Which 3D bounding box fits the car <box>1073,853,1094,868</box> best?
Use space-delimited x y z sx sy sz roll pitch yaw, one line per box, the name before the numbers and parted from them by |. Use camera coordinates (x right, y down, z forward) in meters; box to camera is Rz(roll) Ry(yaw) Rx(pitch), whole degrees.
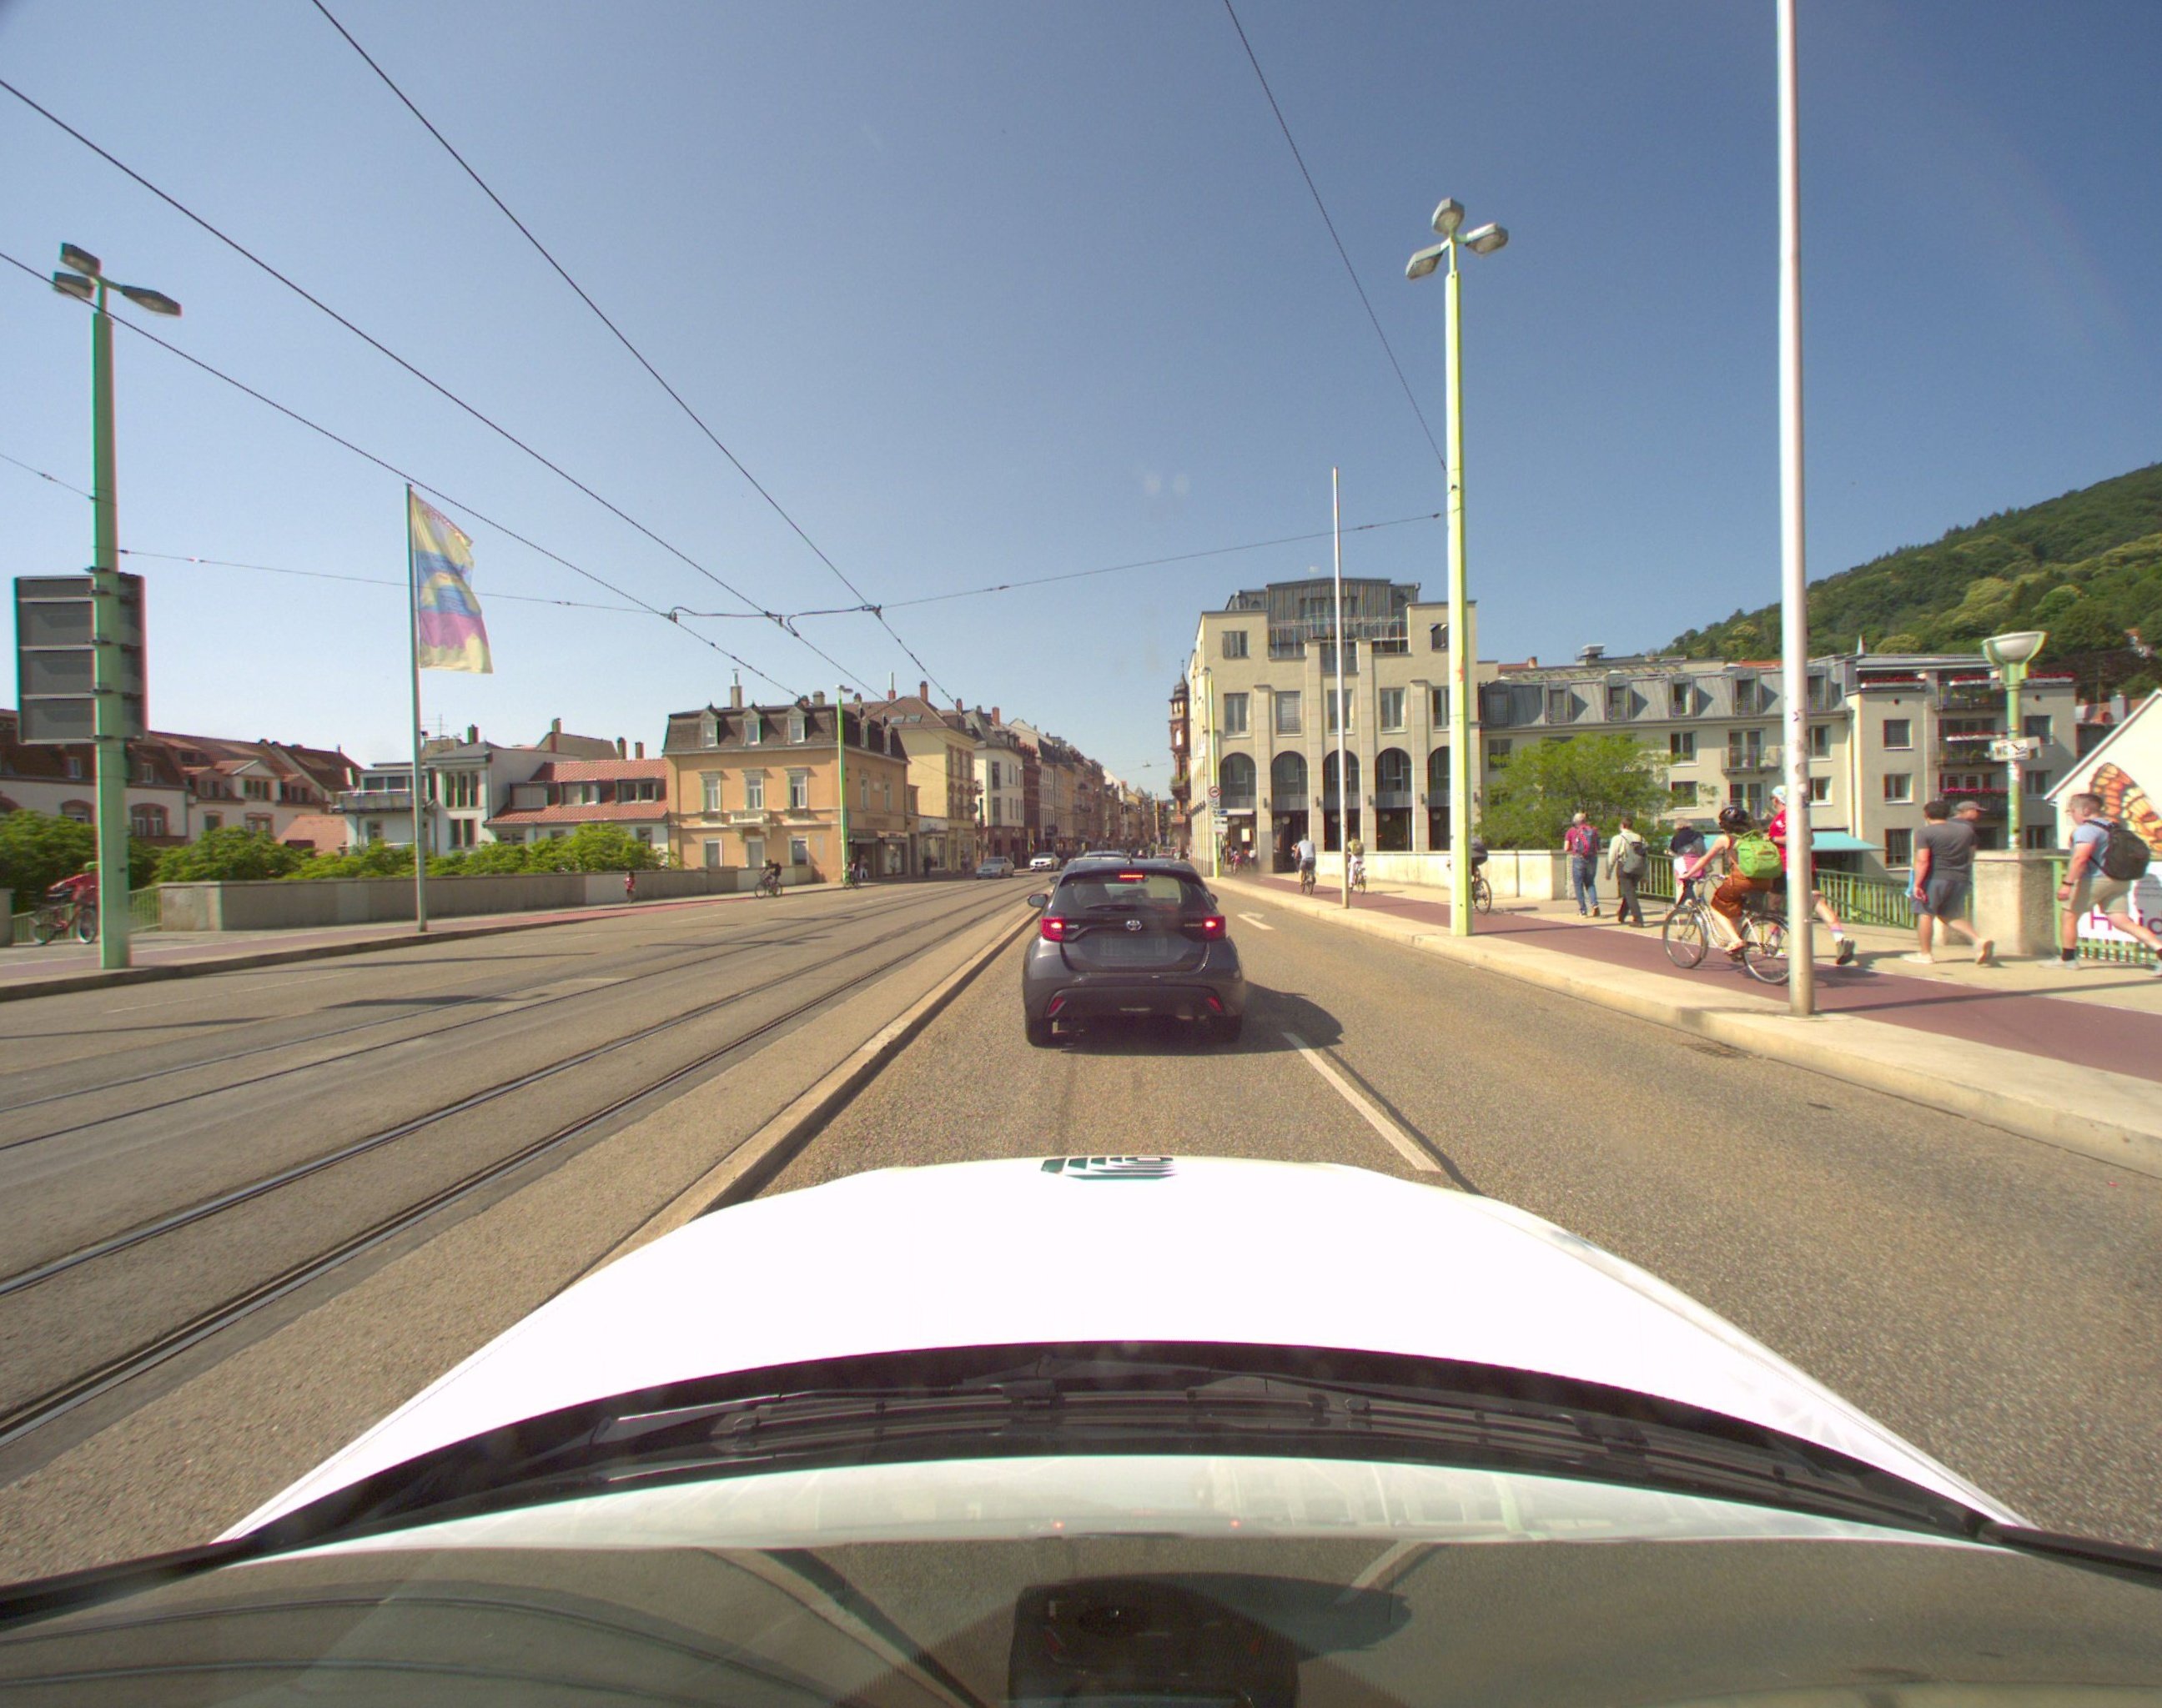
car | 0.295 0.712 89.317 1.784 1.545 3.930 -2 0 8

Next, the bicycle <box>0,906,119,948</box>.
bicycle | -19.826 1.402 15.710 1.918 0.716 0.623 0 1 5

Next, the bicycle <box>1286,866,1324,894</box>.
bicycle | 6.703 0.763 24.478 0.592 0.765 1.866 -2 0 -1

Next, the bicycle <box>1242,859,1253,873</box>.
bicycle | 9.279 0.667 45.467 0.415 0.765 0.962 -3 0 2

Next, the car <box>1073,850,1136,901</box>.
car | 0.763 0.636 26.406 1.890 1.530 4.001 0 0 1

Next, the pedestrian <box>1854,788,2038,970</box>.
pedestrian | 8.813 0.239 8.352 0.736 1.718 1.016 -3 0 1

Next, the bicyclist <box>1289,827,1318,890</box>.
bicyclist | 6.678 0.136 24.472 0.585 1.820 0.702 -2 0 -1

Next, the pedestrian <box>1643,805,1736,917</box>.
pedestrian | 10.243 0.116 13.755 0.736 1.777 1.016 -3 0 1

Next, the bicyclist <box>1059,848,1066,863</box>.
bicyclist | -2.081 0.145 90.329 0.701 1.650 0.623 0 1 10

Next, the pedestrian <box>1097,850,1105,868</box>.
pedestrian | 3.122 0.762 125.818 1.047 2.588 1.502 3 0 2

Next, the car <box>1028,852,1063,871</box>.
car | -3.014 0.617 69.519 1.981 1.586 4.665 -2 0 10

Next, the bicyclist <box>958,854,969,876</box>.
bicyclist | -8.688 0.805 60.361 0.623 1.650 0.623 0 1 10

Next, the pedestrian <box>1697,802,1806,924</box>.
pedestrian | 10.172 0.131 12.396 0.737 1.746 1.016 -3 0 0

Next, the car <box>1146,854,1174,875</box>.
car | 5.699 0.708 58.907 1.699 1.466 4.327 0 0 1

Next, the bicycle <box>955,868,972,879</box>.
bicycle | -8.695 1.438 60.345 0.616 0.716 2.051 0 1 11

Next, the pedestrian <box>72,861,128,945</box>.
pedestrian | -19.527 0.972 16.221 0.622 1.632 0.414 1 0 5

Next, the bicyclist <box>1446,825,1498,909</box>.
bicyclist | 7.521 0.251 15.682 0.585 1.559 0.702 -2 0 -1

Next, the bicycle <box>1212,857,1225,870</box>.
bicycle | 10.006 0.700 59.219 0.701 0.882 1.526 3 0 2

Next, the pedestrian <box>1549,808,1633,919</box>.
pedestrian | 8.786 0.155 14.076 0.736 1.802 1.016 -3 0 1

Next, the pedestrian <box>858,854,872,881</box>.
pedestrian | -13.063 0.826 49.280 0.646 1.602 0.566 3 2 2

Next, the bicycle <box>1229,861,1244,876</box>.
bicycle | 8.361 0.754 43.744 0.512 0.765 1.661 -3 0 2

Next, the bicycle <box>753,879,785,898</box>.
bicycle | -13.236 1.467 34.616 0.618 0.716 1.772 0 1 2

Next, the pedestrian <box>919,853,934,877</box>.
pedestrian | -10.887 0.789 57.477 0.758 1.654 0.713 3 0 9

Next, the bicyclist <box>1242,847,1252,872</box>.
bicyclist | 9.253 0.286 45.462 0.420 1.383 0.443 -3 0 1

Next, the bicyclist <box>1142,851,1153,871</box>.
bicyclist | 8.891 0.944 109.180 1.219 2.529 1.109 3 0 13

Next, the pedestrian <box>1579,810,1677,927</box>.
pedestrian | 8.545 0.219 12.765 0.752 1.718 1.073 -3 0 1

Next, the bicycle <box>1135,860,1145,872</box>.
bicycle | 7.268 1.434 99.910 1.107 1.420 3.010 3 0 4

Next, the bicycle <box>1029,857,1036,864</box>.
bicycle | -5.239 0.703 88.369 0.618 0.716 1.772 3 0 2

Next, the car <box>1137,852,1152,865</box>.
car | 10.735 0.754 137.146 1.981 2.013 4.012 3 0 10

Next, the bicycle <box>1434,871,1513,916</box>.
bicycle | 7.539 0.736 15.742 0.592 0.765 1.830 -2 0 -1

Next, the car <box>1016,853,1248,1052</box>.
car | 0.423 0.727 7.860 1.713 1.473 3.659 0 0 1

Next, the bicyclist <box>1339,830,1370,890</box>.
bicyclist | 7.742 0.157 23.071 0.585 1.650 0.702 -2 0 -1

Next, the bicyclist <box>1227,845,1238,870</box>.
bicyclist | 9.044 0.192 48.599 0.438 1.466 0.488 -3 0 24

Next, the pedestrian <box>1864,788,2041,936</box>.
pedestrian | 11.285 0.093 10.591 1.201 1.777 0.979 -3 0 -5

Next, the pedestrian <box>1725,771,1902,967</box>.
pedestrian | 7.788 0.150 8.725 0.808 1.924 1.128 -2 0 1

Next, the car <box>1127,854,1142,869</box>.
car | 8.042 1.103 122.846 1.984 2.013 4.007 3 0 6

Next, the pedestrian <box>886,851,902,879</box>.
pedestrian | -12.210 0.728 53.258 0.733 1.766 0.787 3 0 2

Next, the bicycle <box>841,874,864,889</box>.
bicycle | -11.706 1.404 41.713 0.618 0.716 1.732 0 1 2

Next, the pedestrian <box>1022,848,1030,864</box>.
pedestrian | -5.961 0.207 88.403 0.733 1.766 0.787 -1 1 2

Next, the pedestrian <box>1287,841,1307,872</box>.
pedestrian | 11.546 0.113 43.546 0.736 1.615 1.016 3 0 1

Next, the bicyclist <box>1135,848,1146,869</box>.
bicyclist | 7.314 0.516 99.860 1.223 2.529 1.105 3 0 1

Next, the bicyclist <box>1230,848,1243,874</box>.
bicyclist | 8.336 0.372 43.718 0.532 1.383 0.669 -3 0 1

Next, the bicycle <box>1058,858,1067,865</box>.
bicycle | -2.061 0.846 90.393 0.616 0.716 2.051 0 1 11

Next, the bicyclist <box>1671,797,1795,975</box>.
bicyclist | 6.382 0.304 8.006 0.602 1.650 0.702 -2 0 2

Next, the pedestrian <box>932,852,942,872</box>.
pedestrian | -11.551 0.640 65.272 0.646 1.602 0.566 3 2 2

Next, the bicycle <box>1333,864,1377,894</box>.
bicycle | 7.768 0.697 23.160 0.592 0.765 1.866 -2 0 -1

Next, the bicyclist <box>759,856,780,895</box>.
bicyclist | -13.226 0.901 34.600 0.625 1.650 0.622 0 1 2

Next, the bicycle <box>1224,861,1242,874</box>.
bicycle | 9.065 0.801 48.604 0.950 0.765 0.420 -3 0 24

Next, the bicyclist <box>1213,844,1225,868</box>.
bicyclist | 10.035 0.173 59.351 0.699 1.695 0.925 3 0 2

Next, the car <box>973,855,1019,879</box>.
car | -5.541 0.818 53.552 1.719 1.460 4.388 -2 0 12

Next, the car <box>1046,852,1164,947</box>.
car | 0.436 0.726 15.130 1.890 1.530 4.001 0 0 1

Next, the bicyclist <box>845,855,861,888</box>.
bicyclist | -11.693 0.899 41.770 0.625 1.650 0.622 0 1 2

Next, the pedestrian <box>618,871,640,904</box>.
pedestrian | -16.479 1.220 29.697 0.409 1.146 0.546 3 0 11

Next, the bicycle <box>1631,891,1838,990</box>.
bicycle | 6.406 0.806 8.135 0.591 0.765 1.867 -3 0 2

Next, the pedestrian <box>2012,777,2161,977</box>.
pedestrian | 9.582 0.186 7.531 0.736 1.718 1.016 -2 0 1
